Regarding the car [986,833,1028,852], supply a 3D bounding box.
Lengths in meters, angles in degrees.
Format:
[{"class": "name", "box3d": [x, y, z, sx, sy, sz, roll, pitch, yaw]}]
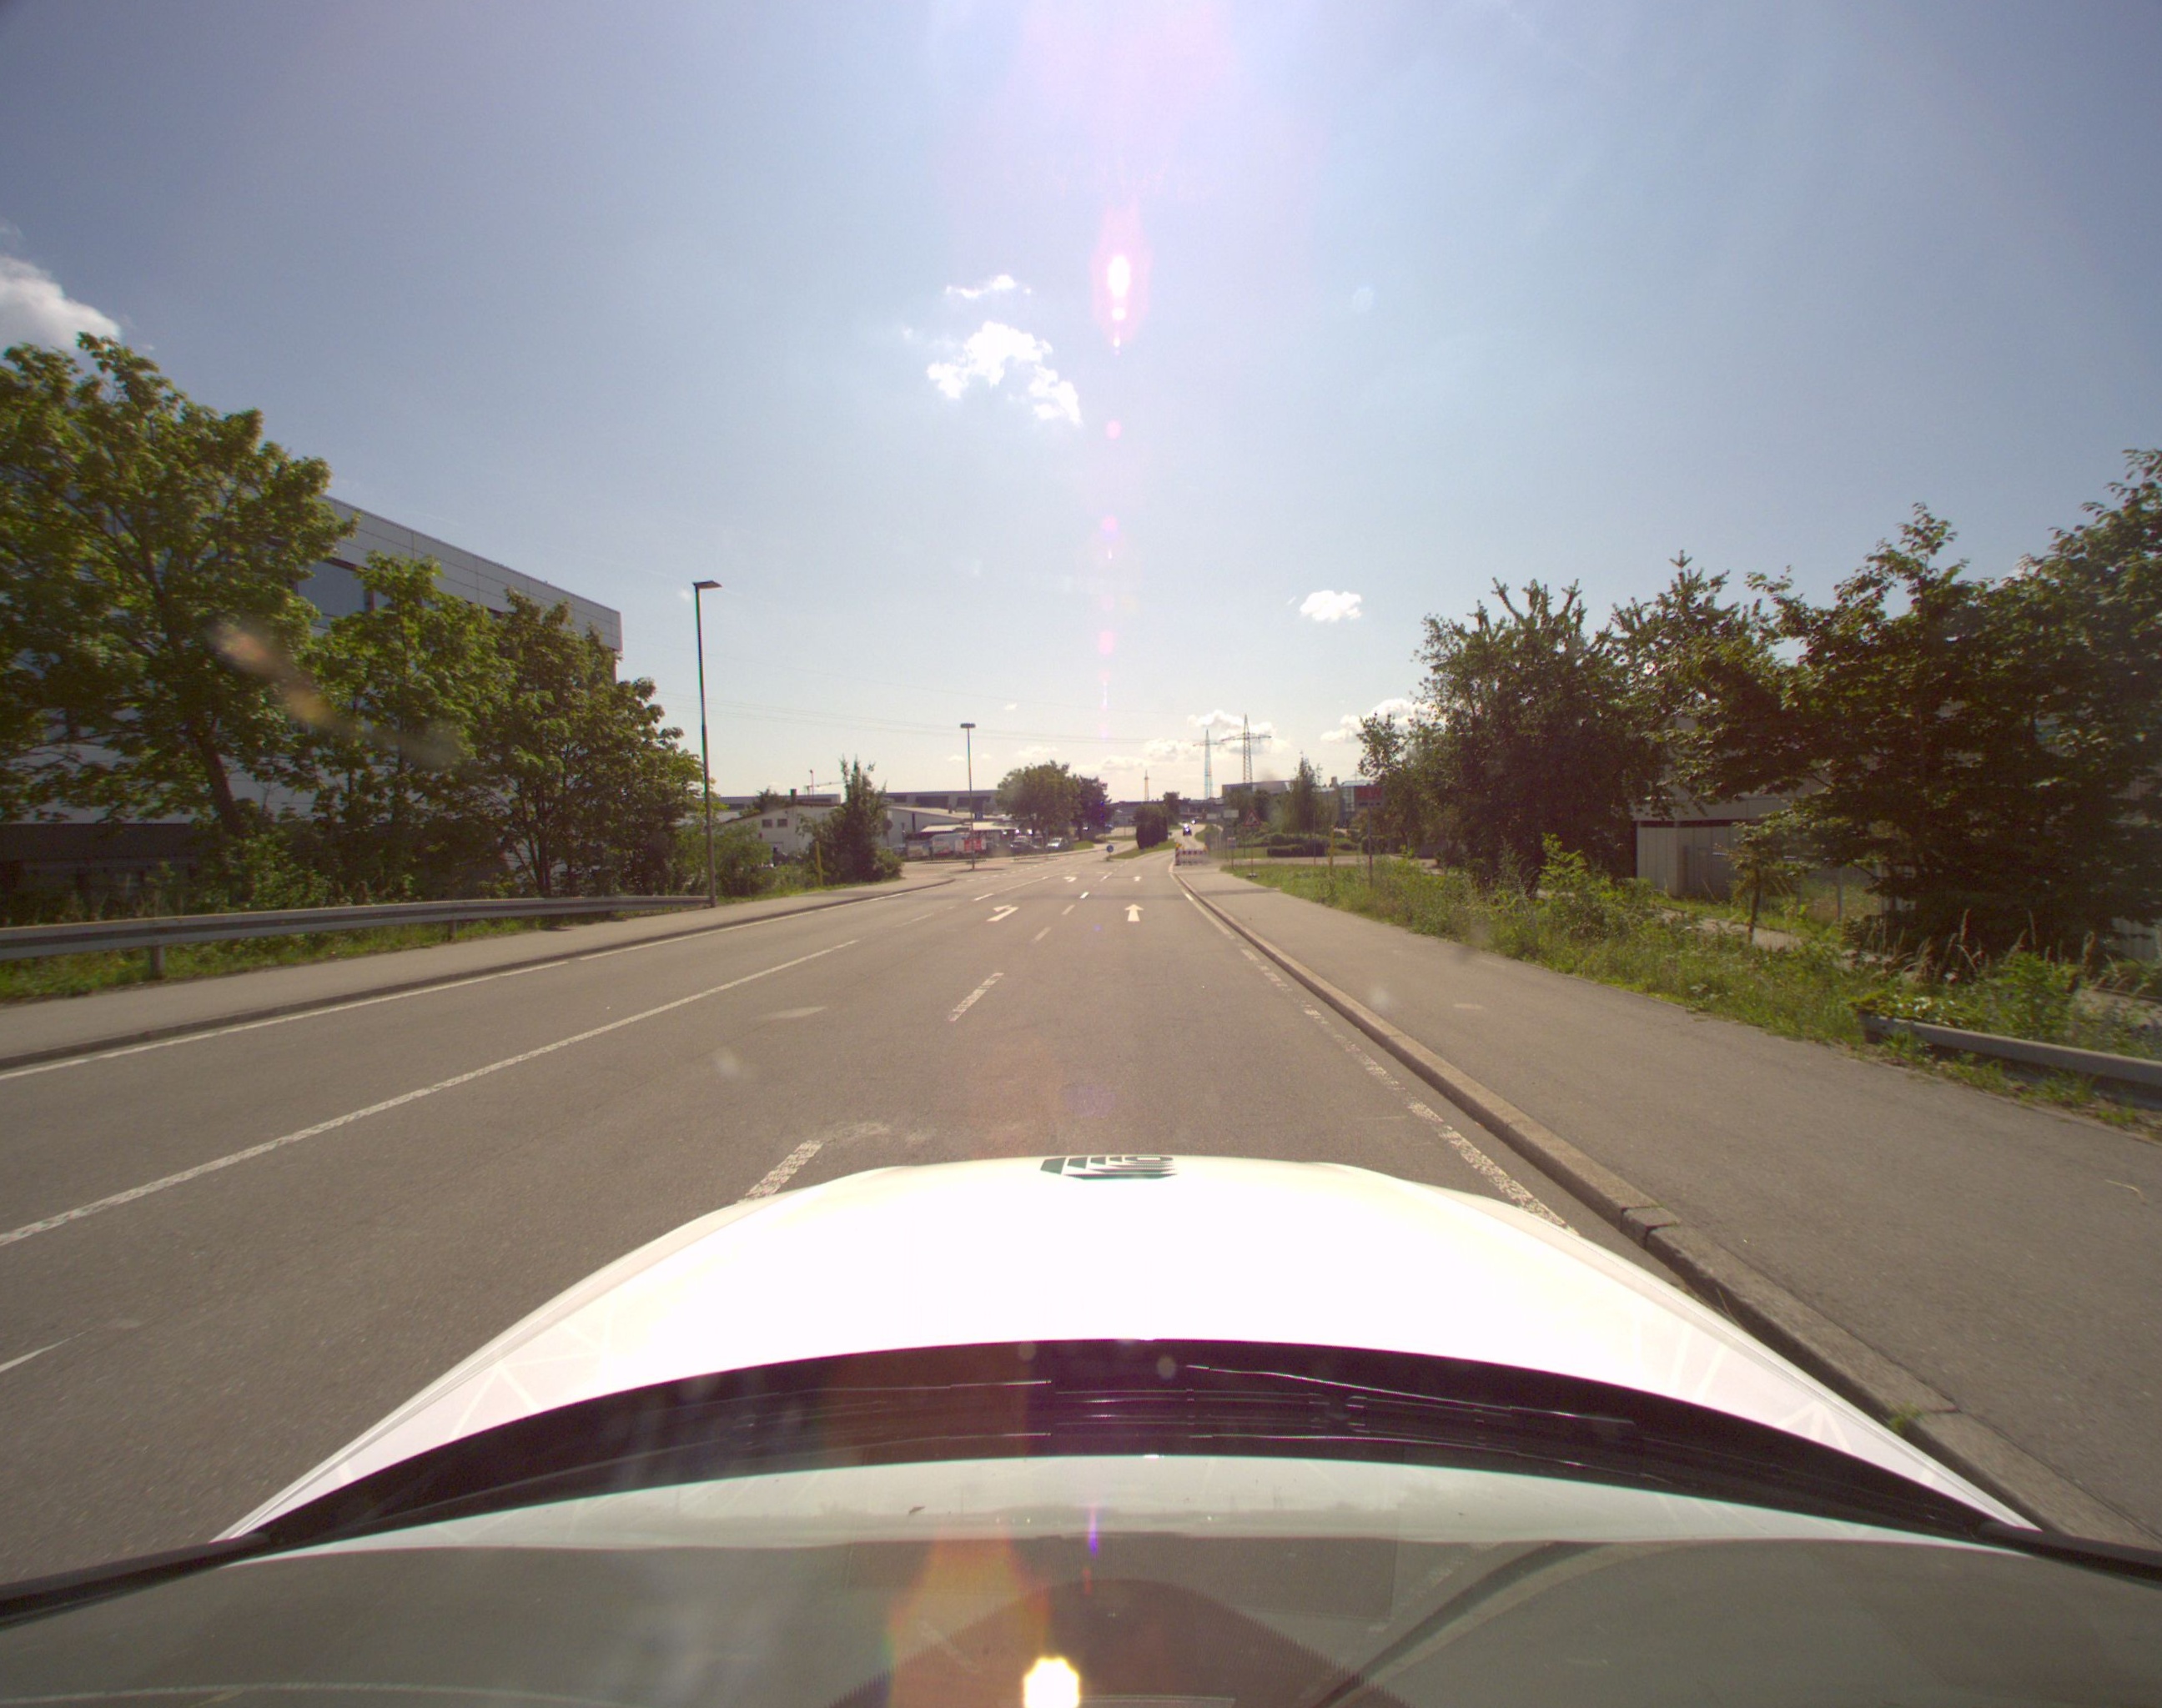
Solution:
[{"class": "car", "box3d": [-7.780, -1.193, 85.736, 3.949, 1.903, 2.013, 1, 3, 31]}]

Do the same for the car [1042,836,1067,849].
[{"class": "car", "box3d": [-3.126, -1.387, 97.229, 1.813, 1.517, 3.606, -1, 2, 19]}]

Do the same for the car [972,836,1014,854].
[{"class": "car", "box3d": [-9.021, -0.967, 83.476, 3.948, 1.780, 2.013, 1, 3, 33]}]

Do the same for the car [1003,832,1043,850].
[{"class": "car", "box3d": [-6.442, -1.414, 90.477, 3.950, 1.903, 2.012, 0, 3, 25]}]

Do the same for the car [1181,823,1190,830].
[{"class": "car", "box3d": [31.010, -8.053, 241.000, 2.476, 2.013, 4.679, -1, 3, 9]}]

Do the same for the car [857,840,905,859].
[{"class": "car", "box3d": [-18.033, -0.427, 73.417, 3.948, 1.653, 2.013, 1, 3, 35]}]

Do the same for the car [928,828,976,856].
[{"class": "car", "box3d": [-12.634, -1.163, 79.618, 4.309, 2.608, 2.013, -1, 1, 33]}]

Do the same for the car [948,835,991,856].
[{"class": "car", "box3d": [-11.134, -0.865, 81.293, 3.948, 1.903, 2.013, 1, 3, 36]}]

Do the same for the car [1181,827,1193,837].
[{"class": "car", "box3d": [21.949, -4.642, 169.204, 2.260, 1.946, 4.674, 2, 2, 6]}]

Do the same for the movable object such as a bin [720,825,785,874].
[{"class": "movable object such as a bin", "box3d": [-19.137, -0.219, 47.765, 2.071, 2.698, 5.723, -1, -1, -7]}]

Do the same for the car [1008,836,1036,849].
[{"class": "car", "box3d": [-8.561, -1.684, 117.689, 3.983, 1.850, 1.831, -2, 1, -7]}]
